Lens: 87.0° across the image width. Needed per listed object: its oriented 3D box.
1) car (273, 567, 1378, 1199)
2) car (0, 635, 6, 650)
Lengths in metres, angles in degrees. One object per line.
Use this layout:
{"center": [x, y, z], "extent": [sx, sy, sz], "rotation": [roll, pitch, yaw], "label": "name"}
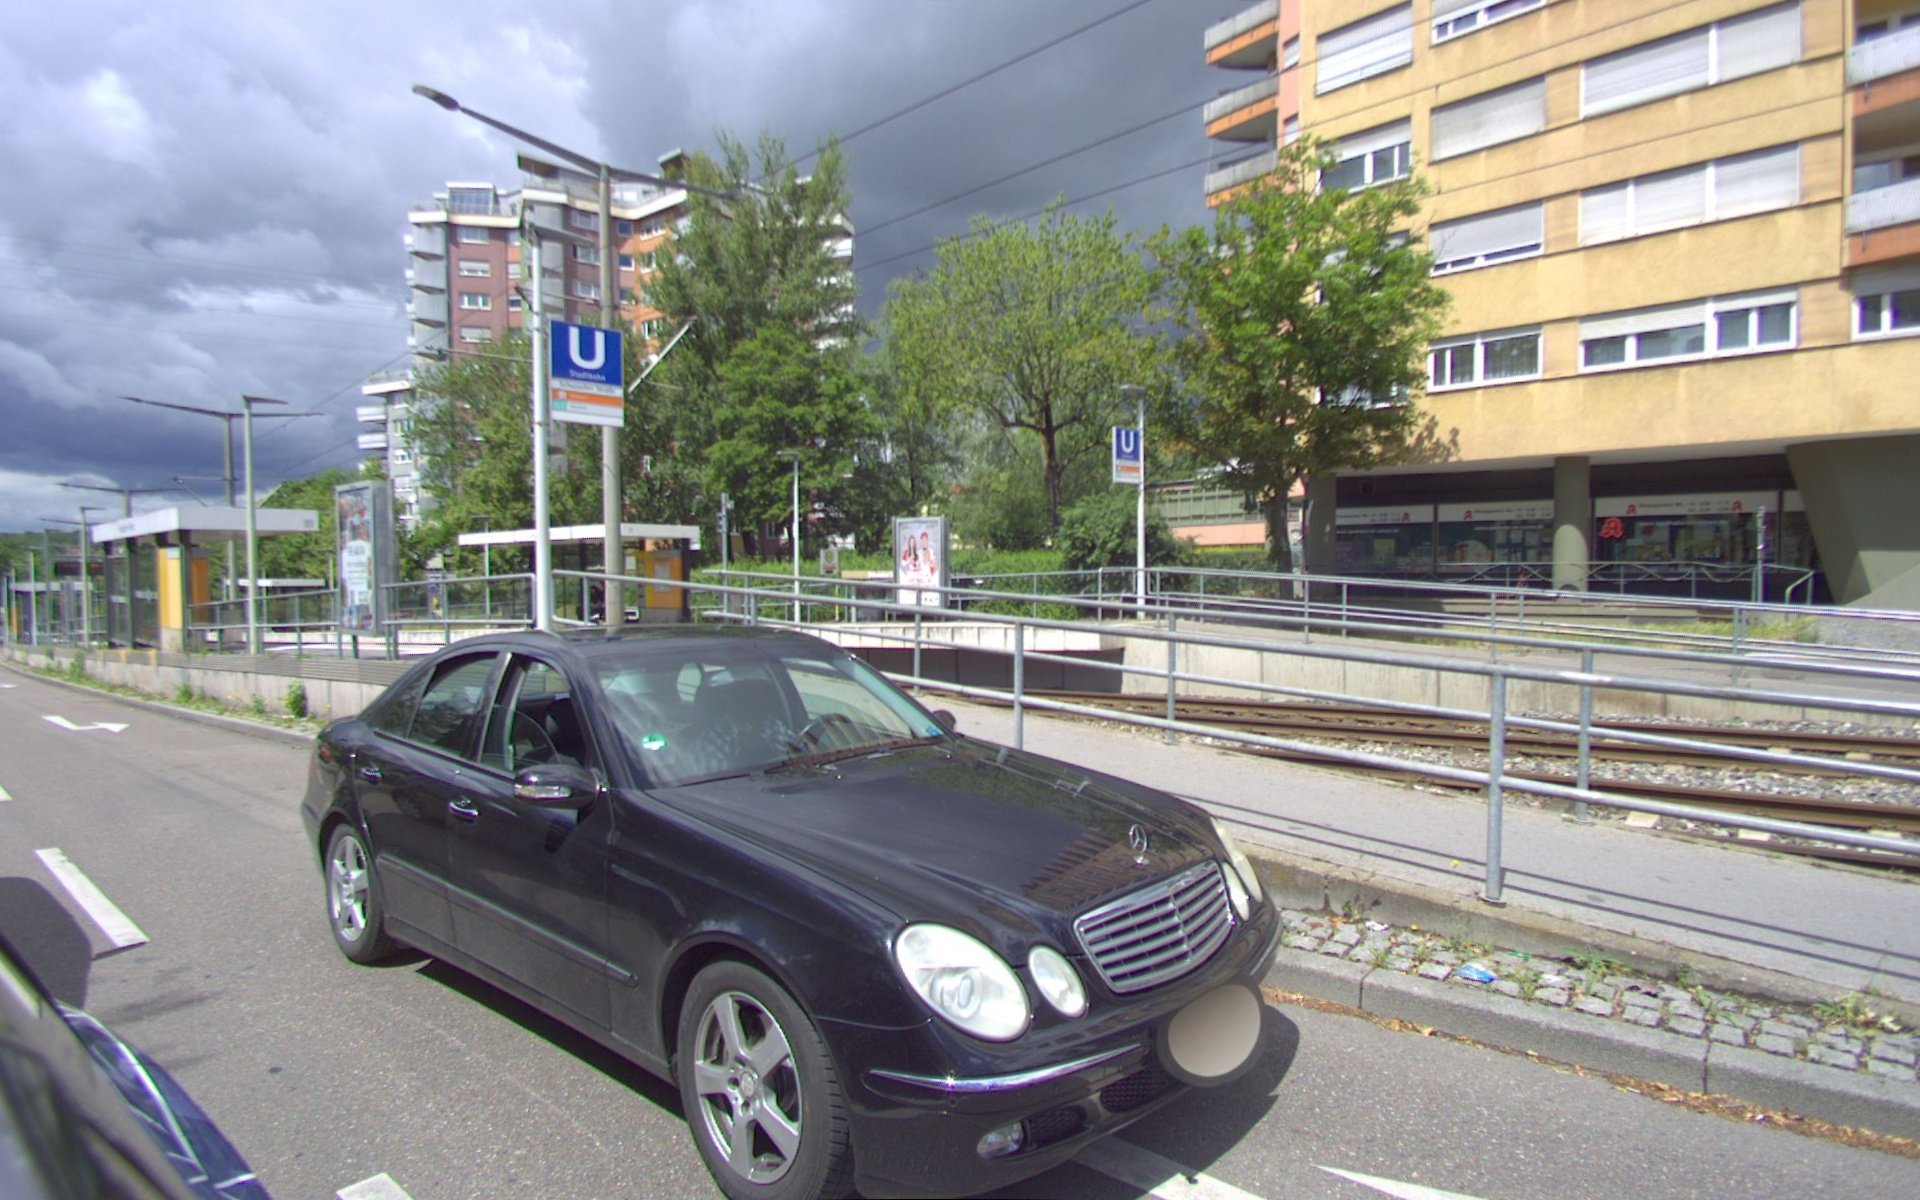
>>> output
{"center": [-0.993, 0.697, 3.951], "extent": [4.542, 1.472, 1.710], "rotation": [-1, 0, 41], "label": "car"}
{"center": [-97.975, 4.322, 102.656], "extent": [1.707, 1.525, 4.004], "rotation": [-2, 0, -42], "label": "car"}
